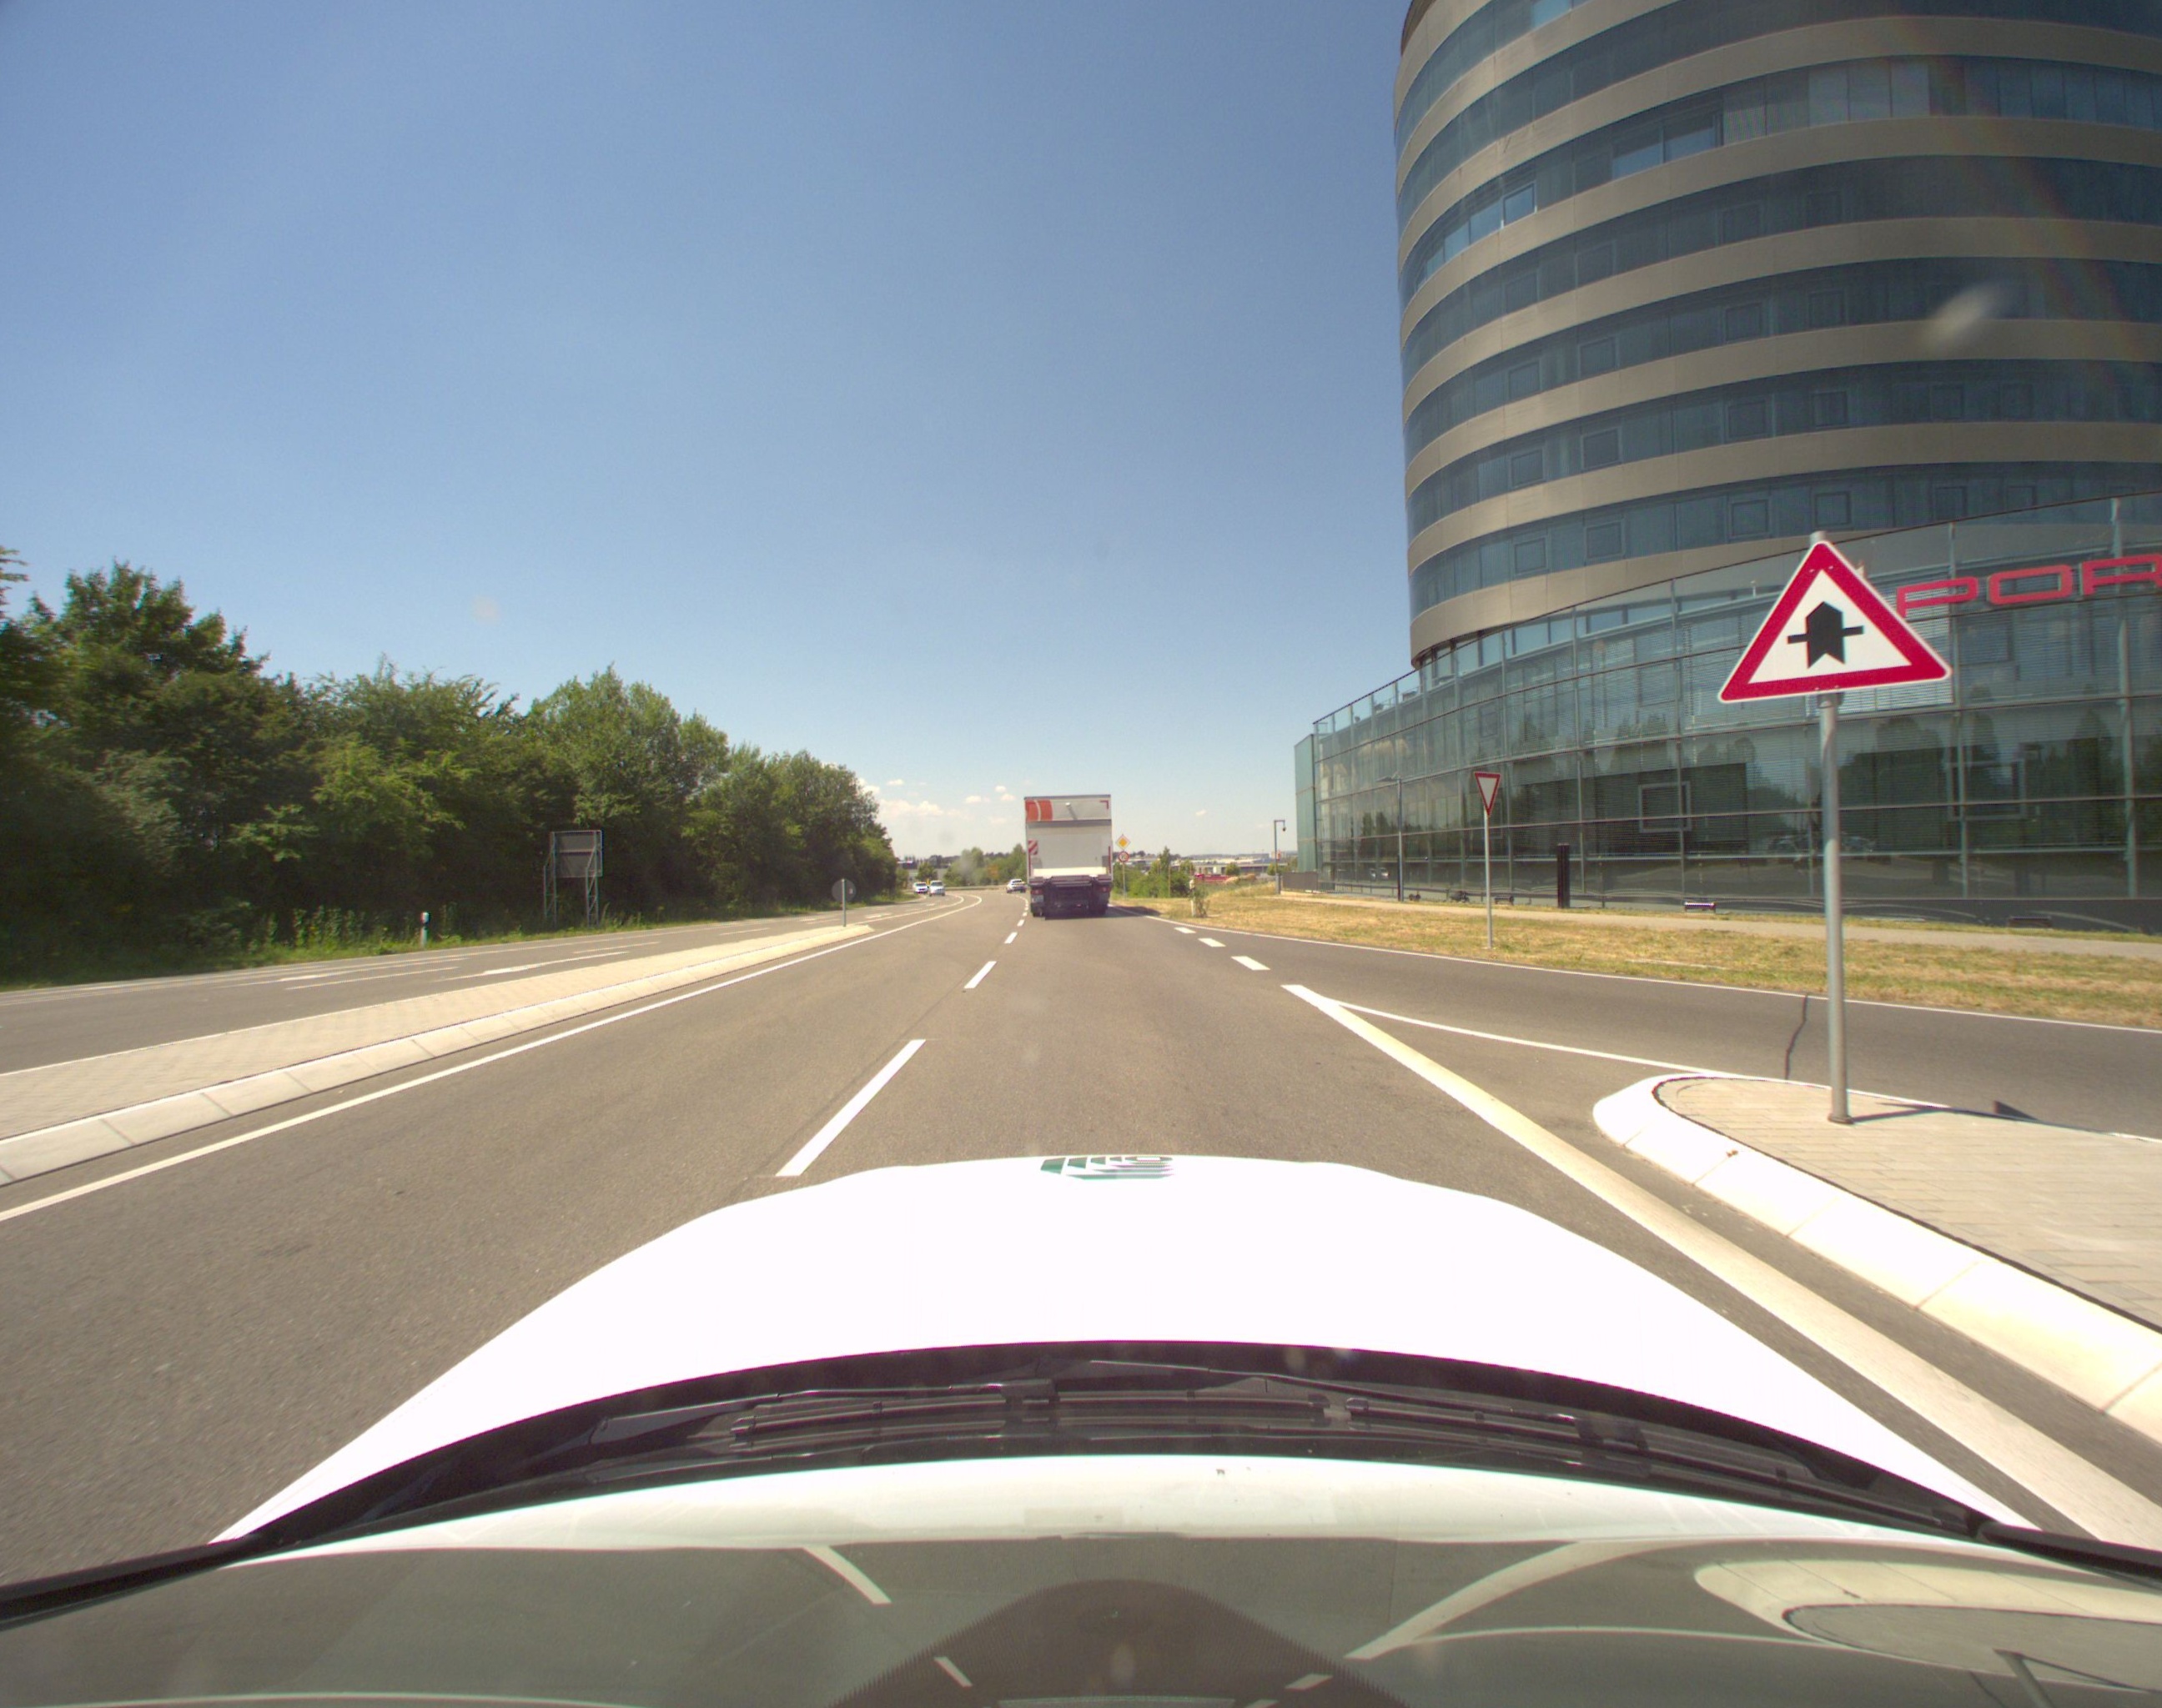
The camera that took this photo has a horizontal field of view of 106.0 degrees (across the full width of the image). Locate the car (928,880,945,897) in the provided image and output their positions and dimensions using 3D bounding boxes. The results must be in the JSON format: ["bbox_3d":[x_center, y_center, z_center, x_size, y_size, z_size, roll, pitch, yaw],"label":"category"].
[{"bbox_3d":[-17.781,4.215,99.983,1.804,1.970,3.982,1,0,-13],"label":"car"}]

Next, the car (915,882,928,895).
[{"bbox_3d":[-25.479,5.495,130.202,1.804,1.840,3.982,1,0,-13],"label":"car"}]

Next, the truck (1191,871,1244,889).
[{"bbox_3d":[28.132,5.345,167.953,10.269,3.219,2.471,1,0,25],"label":"truck"}]

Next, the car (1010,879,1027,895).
[{"bbox_3d":[-6.934,3.602,90.383,1.798,1.557,3.995,1,0,-3],"label":"car"}]

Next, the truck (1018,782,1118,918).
[{"bbox_3d":[-0.537,0.075,28.298,2.762,3.860,9.360,-2,-2,-2],"label":"truck"}]
